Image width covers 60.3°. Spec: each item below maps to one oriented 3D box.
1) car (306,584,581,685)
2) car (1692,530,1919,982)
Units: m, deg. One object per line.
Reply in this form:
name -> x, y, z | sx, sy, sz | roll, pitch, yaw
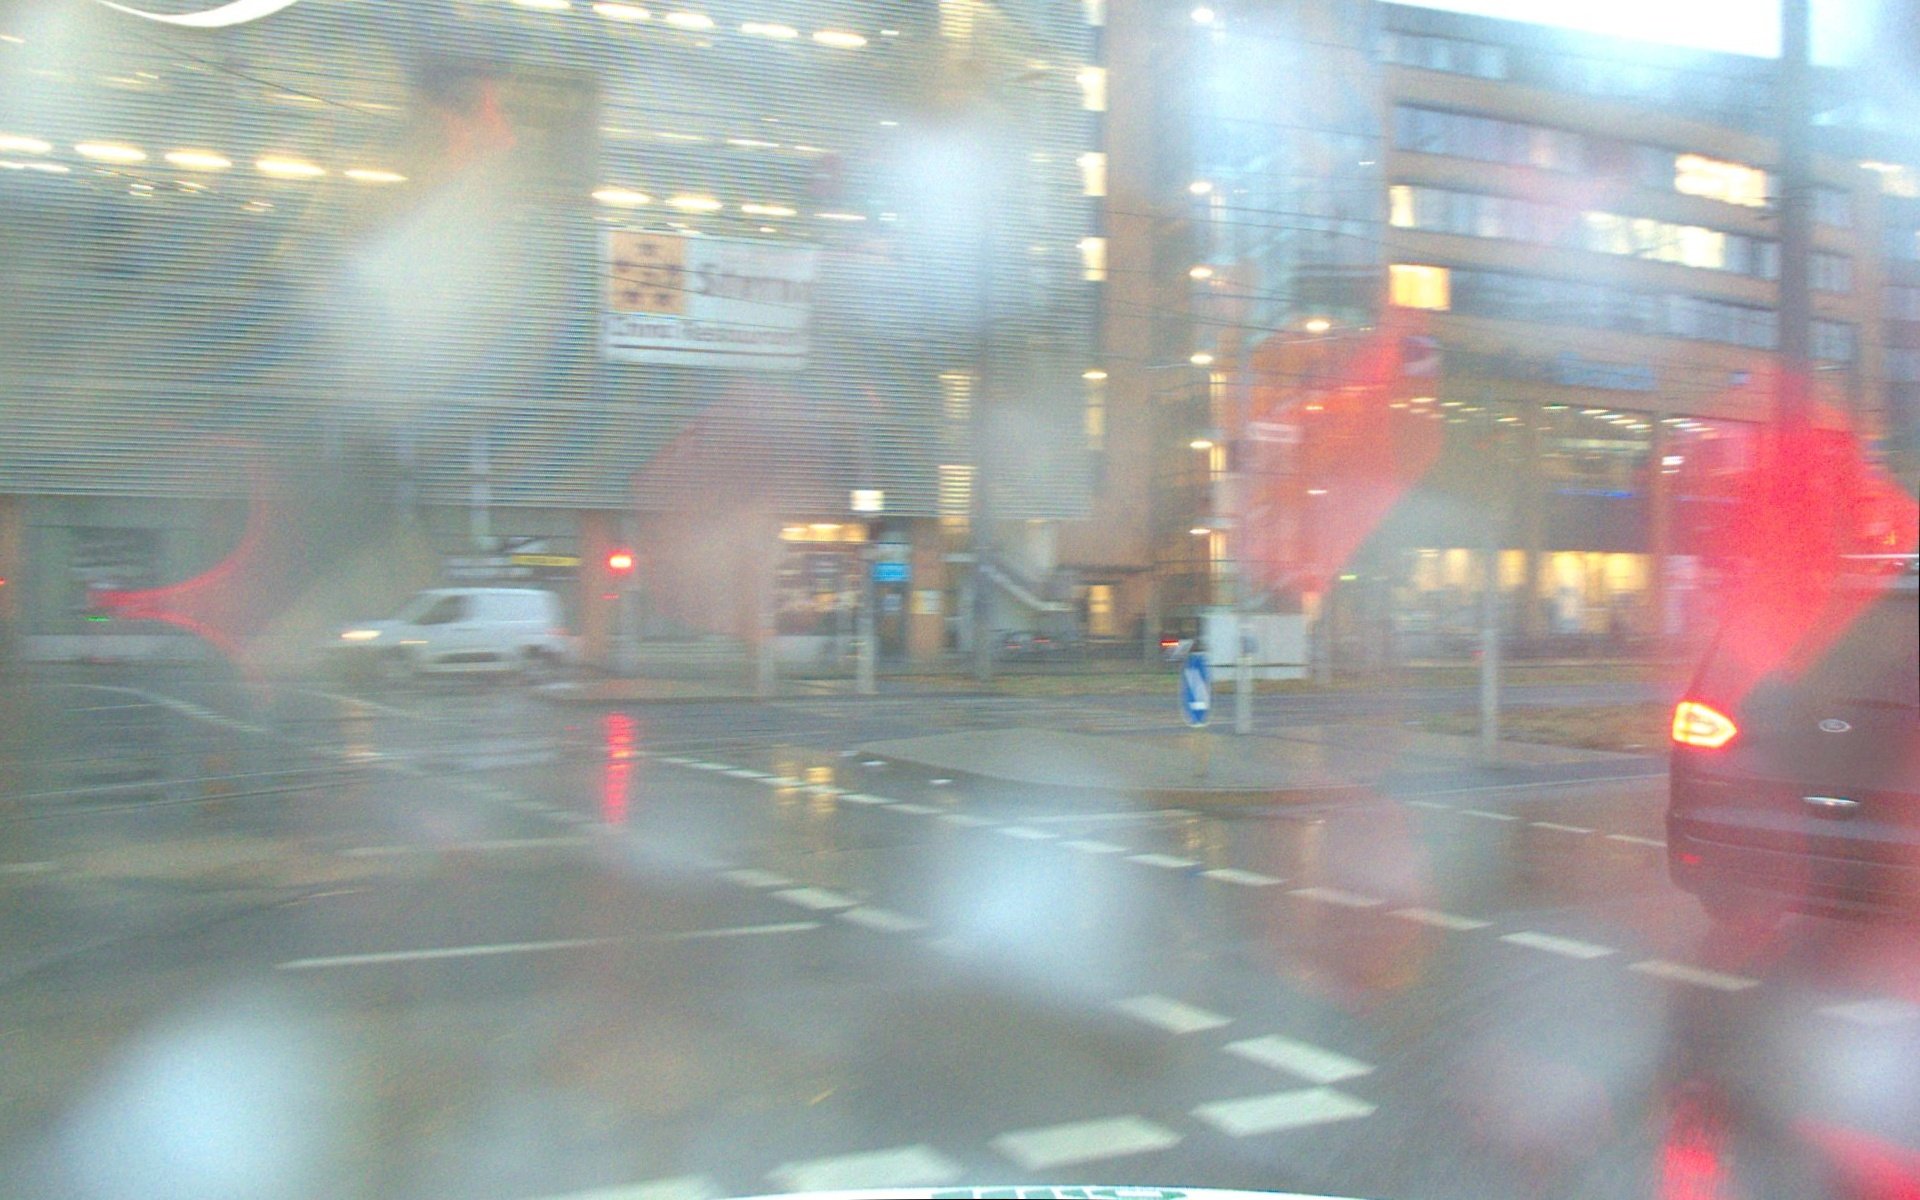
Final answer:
car -> -9.594, 0.623, 30.966 | 4.572, 1.749, 1.899 | 1, -1, -43
car -> 5.186, 0.644, 8.105 | 1.651, 1.811, 3.971 | -1, -1, 45
